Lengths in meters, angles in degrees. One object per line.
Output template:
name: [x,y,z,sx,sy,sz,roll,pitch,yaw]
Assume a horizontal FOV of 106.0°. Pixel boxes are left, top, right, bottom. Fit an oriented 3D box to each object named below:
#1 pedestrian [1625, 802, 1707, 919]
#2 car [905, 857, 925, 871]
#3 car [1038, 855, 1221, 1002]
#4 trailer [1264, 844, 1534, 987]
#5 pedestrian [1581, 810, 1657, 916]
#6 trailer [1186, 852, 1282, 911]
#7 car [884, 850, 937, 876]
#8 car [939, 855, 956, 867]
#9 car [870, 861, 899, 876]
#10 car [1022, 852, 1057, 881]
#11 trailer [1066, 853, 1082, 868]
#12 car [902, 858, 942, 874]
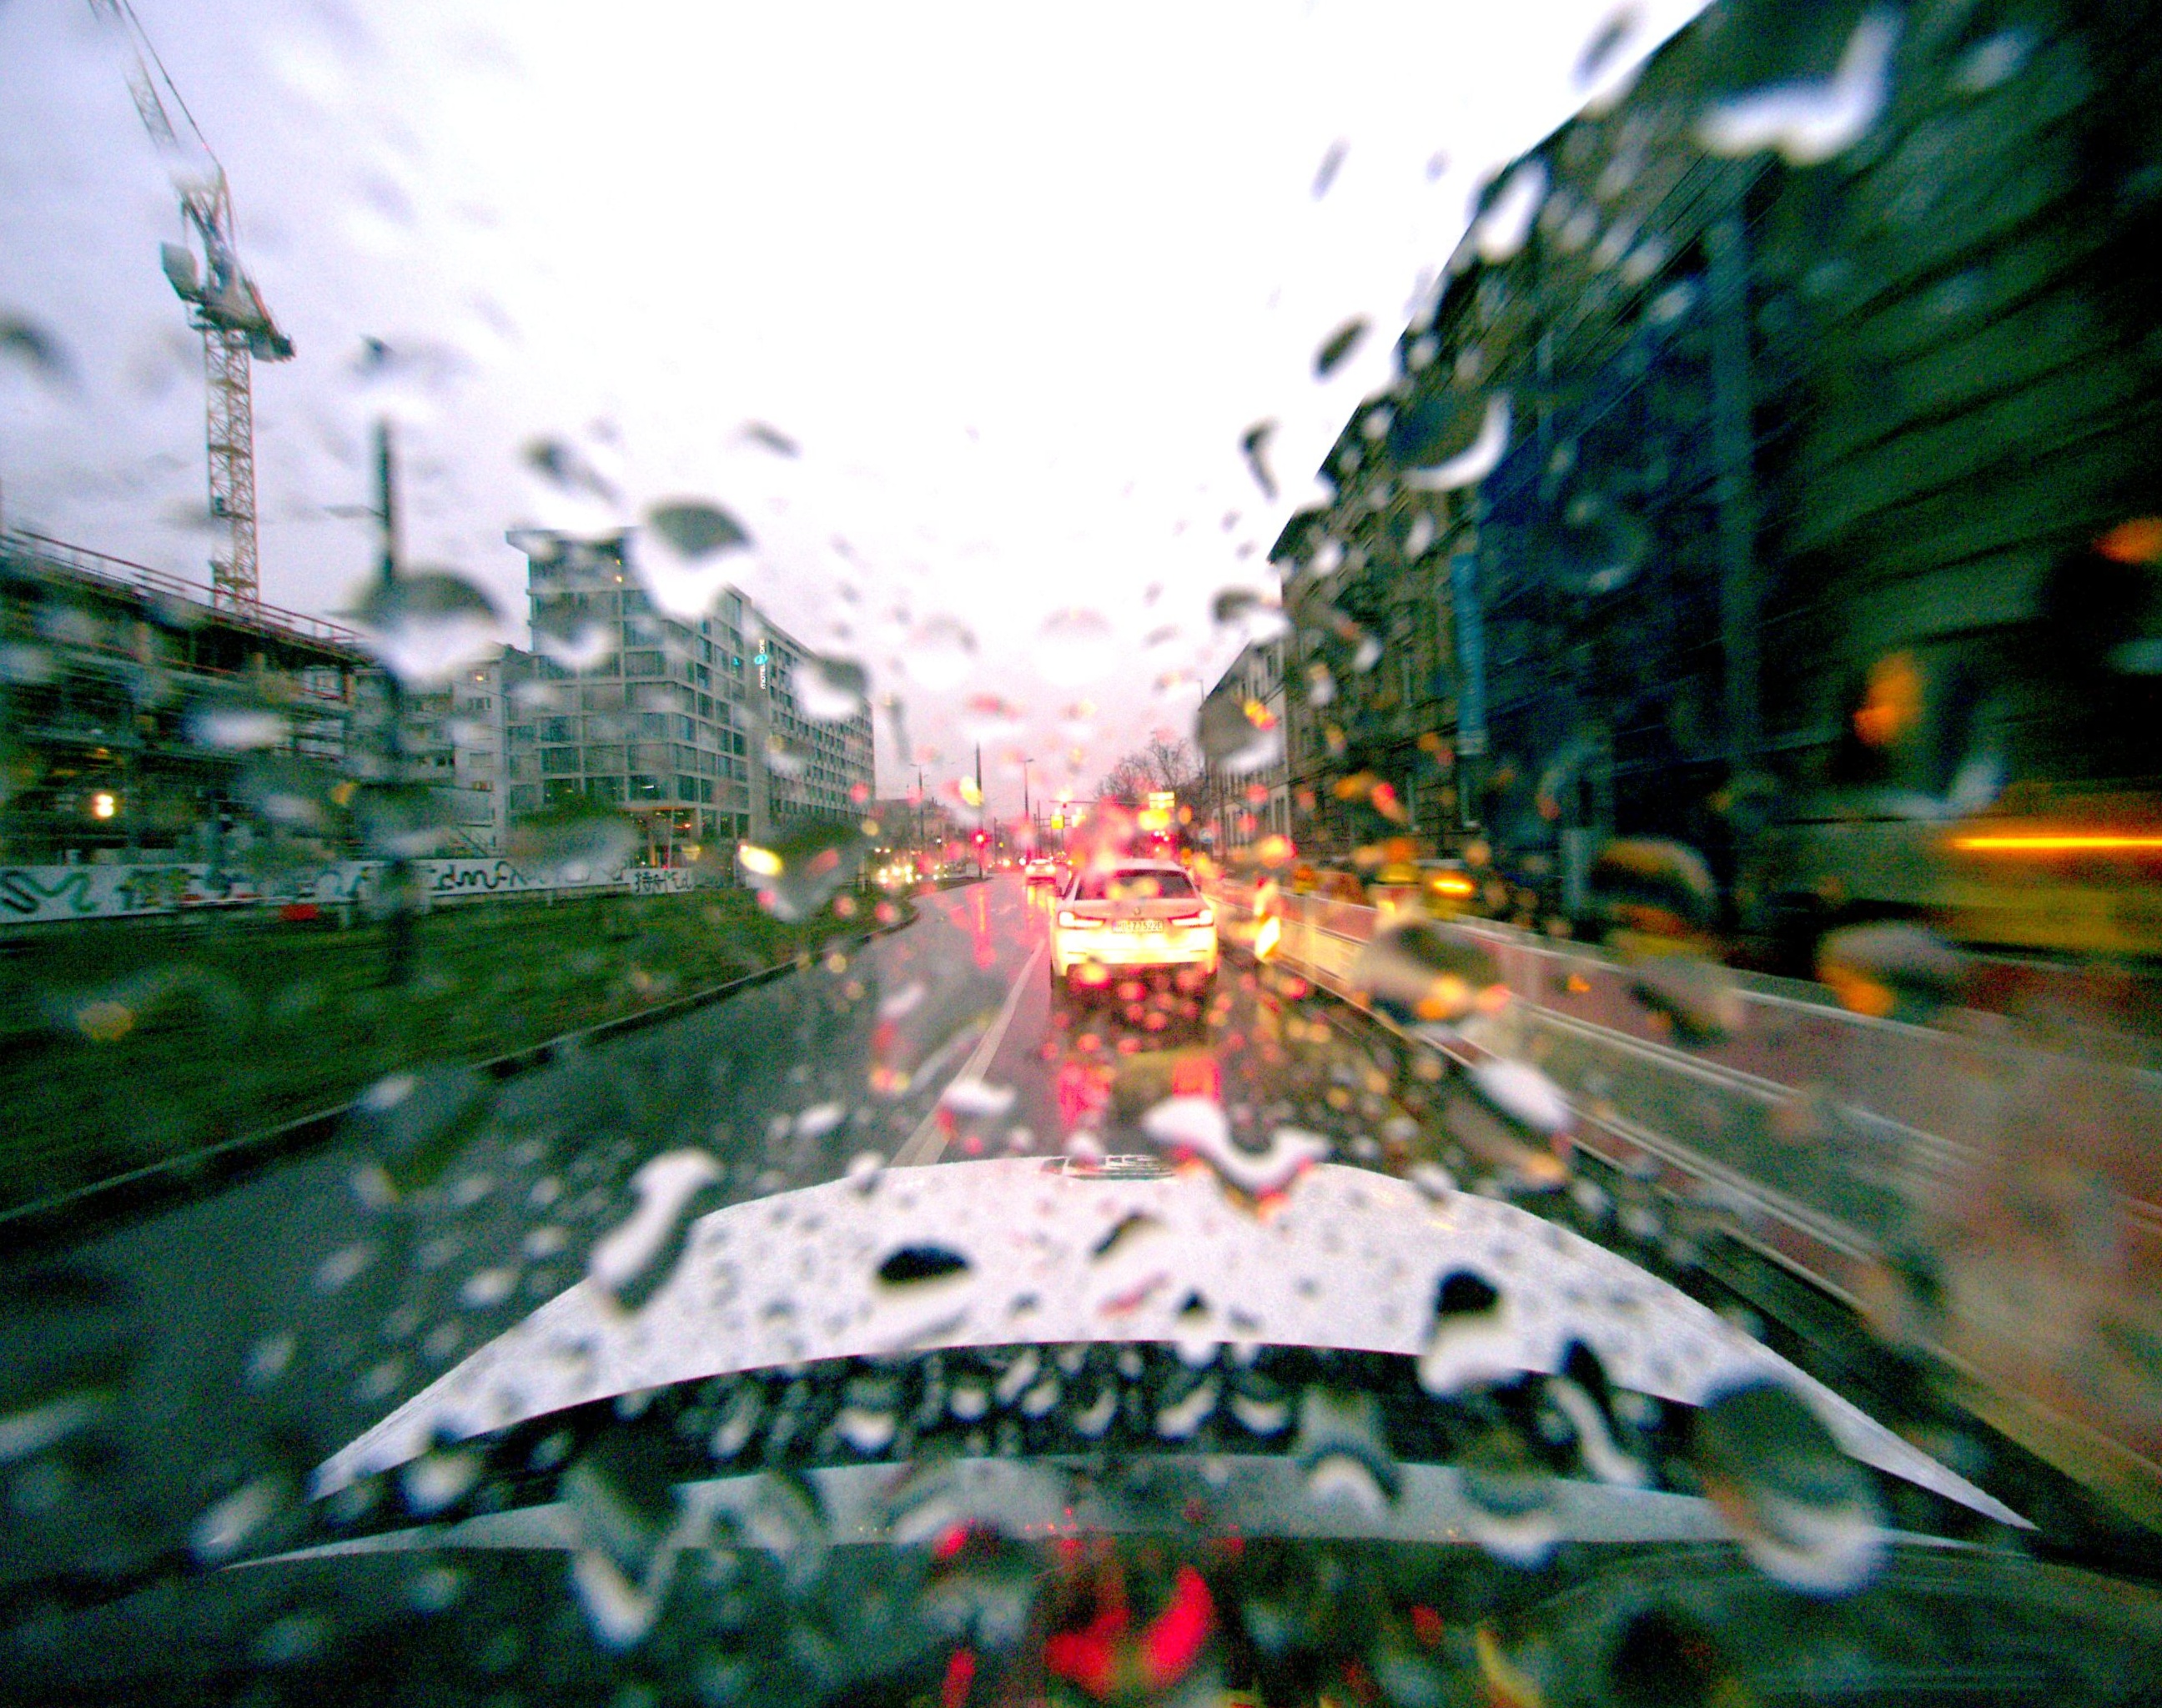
pedestrian: [8.898,0.095,12.421,0.639,1.710,0.727,-3,0,0]
car: [-20.534,1.206,100.976,1.853,1.640,4.028,-1,0,-3]
car: [0.486,0.757,10.750,1.846,1.465,4.945,-1,0,0]
trailer: [4.004,0.661,11.276,1.829,1.490,4.847,-2,0,0]
pedestrian: [8.677,0.145,13.153,0.708,1.621,0.650,-4,0,0]
trailer: [3.911,0.659,21.411,1.845,1.346,3.528,-2,0,0]
car: [-13.921,0.738,66.315,3.999,1.975,1.987,-1,0,-19]
car: [-19.190,1.061,117.030,1.552,1.659,3.401,-1,0,5]
car: [-21.327,1.578,88.203,1.753,1.492,3.502,-1,0,-39]
car: [-2.461,0.739,49.290,1.895,1.642,4.000,-1,0,0]
trailer: [-0.834,0.771,98.716,1.829,1.643,3.997,-1,0,-2]
car: [-15.809,1.196,81.137,3.502,1.492,1.753,-1,0,19]
